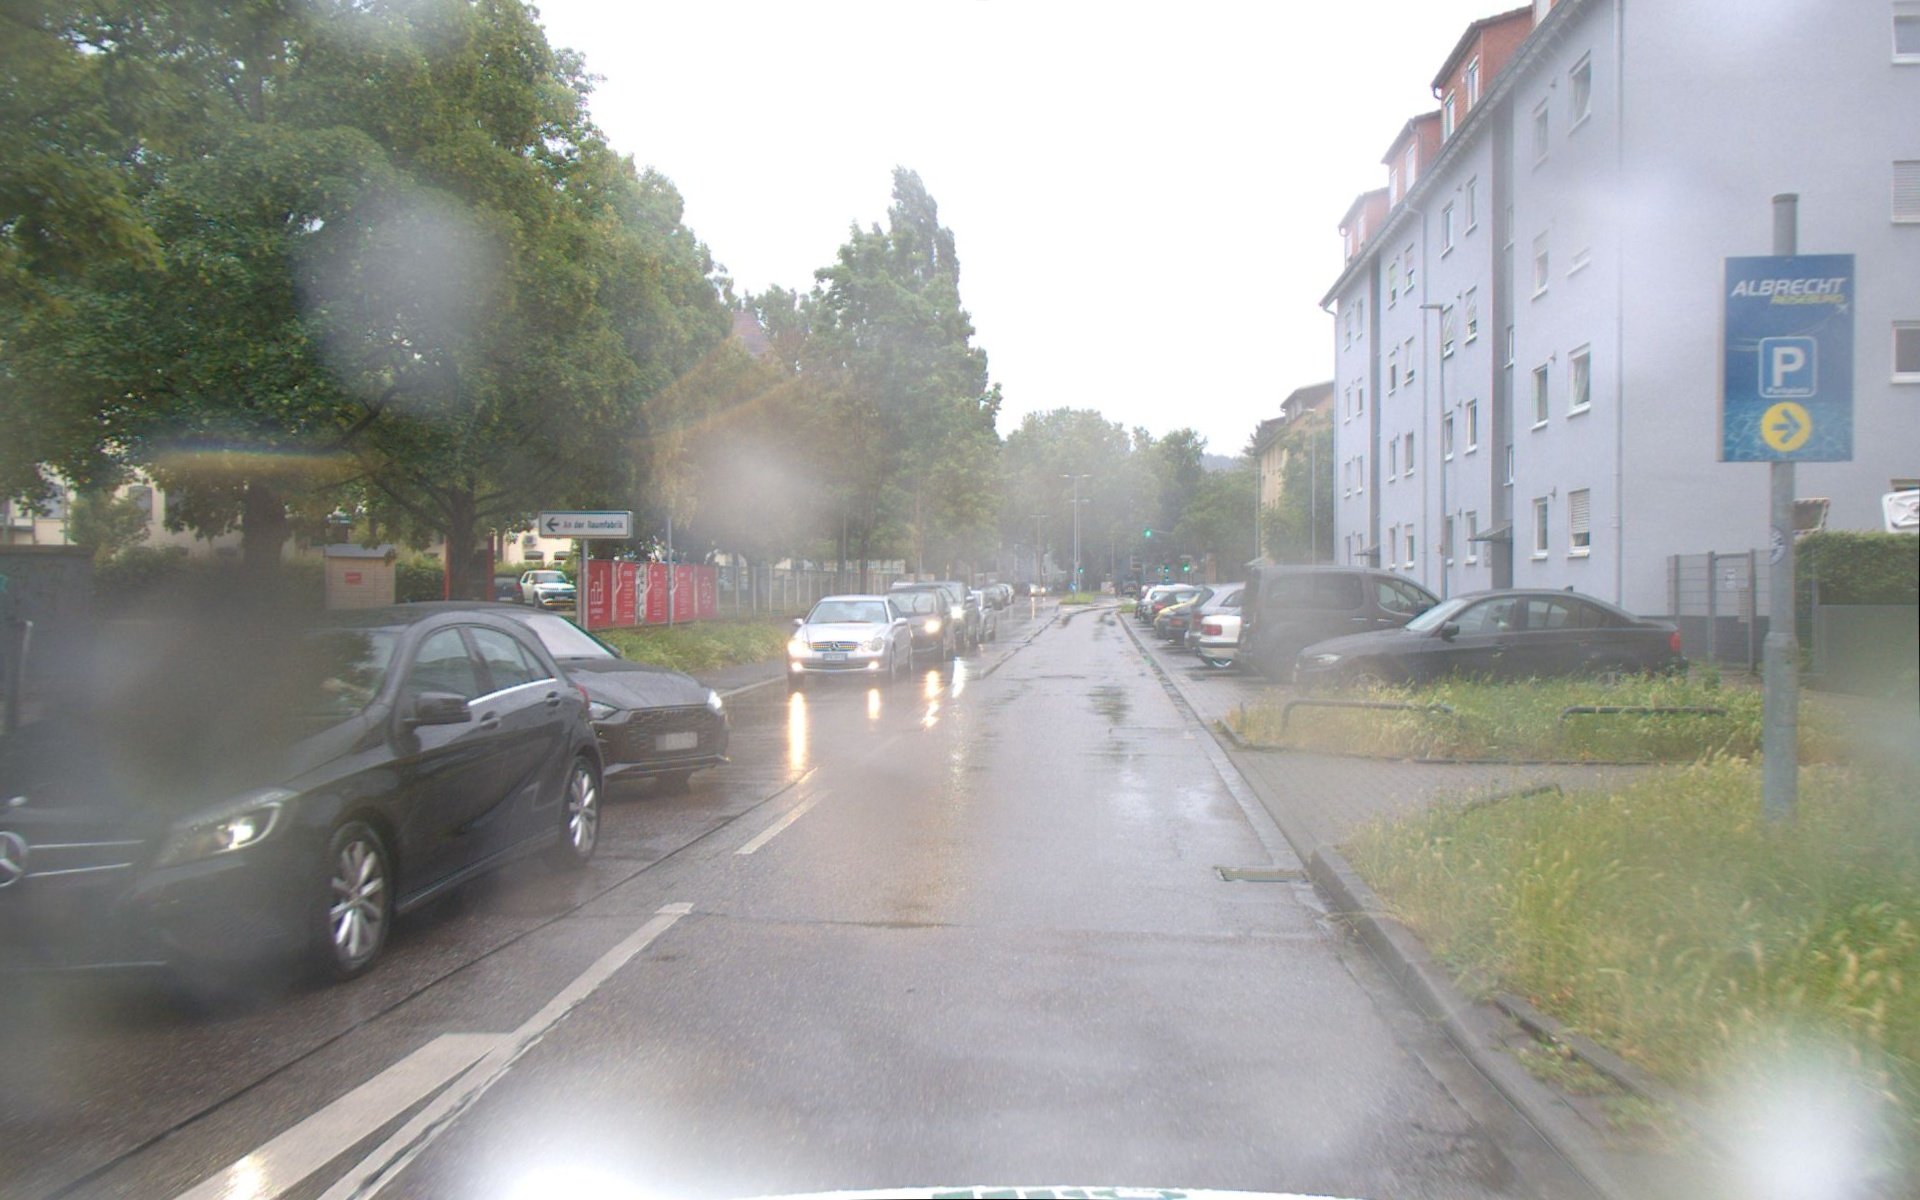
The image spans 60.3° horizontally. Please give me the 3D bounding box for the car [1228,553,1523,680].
[{"bbox_3d":[6.425,0.243,25.946,4.144,1.836,1.945,-1,0,1],"label":"car"}]

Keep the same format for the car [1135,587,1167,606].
[{"bbox_3d":[15.546,-0.294,134.436,1.813,1.551,3.996,0,1,-5],"label":"car"}]

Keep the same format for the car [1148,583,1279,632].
[{"bbox_3d":[7.896,0.214,51.792,3.903,1.467,1.783,1,0,4],"label":"car"}]

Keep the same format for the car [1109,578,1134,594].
[{"bbox_3d":[15.591,-1.383,159.840,1.813,1.551,3.997,0,1,-4],"label":"car"}]

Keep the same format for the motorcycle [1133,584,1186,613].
[{"bbox_3d":[9.244,-0.076,76.827,2.349,1.347,0.919,1,0,0],"label":"motorcycle"}]

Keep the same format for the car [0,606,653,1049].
[{"bbox_3d":[-2.908,0.775,7.719,1.690,1.385,4.341,-1,1,6],"label":"car"}]

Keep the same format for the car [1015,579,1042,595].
[{"bbox_3d":[7.271,-1.392,175.854,1.712,1.718,3.984,0,0,-15],"label":"car"}]

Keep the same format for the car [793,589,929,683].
[{"bbox_3d":[-1.576,0.533,27.854,1.737,1.428,4.832,1,0,3],"label":"car"}]

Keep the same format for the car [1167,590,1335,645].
[{"bbox_3d":[6.773,0.398,38.791,3.772,1.229,1.957,0,1,6],"label":"car"}]

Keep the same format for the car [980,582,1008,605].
[{"bbox_3d":[2.384,-0.471,114.162,1.889,1.510,4.001,-1,1,1],"label":"car"}]

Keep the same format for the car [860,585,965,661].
[{"bbox_3d":[-0.936,0.440,35.018,1.741,1.445,4.268,-1,1,5],"label":"car"}]

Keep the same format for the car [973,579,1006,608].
[{"bbox_3d":[1.767,-0.421,99.353,1.740,1.556,3.999,1,2,-2],"label":"car"}]

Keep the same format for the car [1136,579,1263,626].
[{"bbox_3d":[8.283,0.086,57.526,4.250,1.579,2.041,1,0,4],"label":"car"}]

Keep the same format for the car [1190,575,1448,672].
[{"bbox_3d":[6.110,0.397,28.533,4.102,1.596,1.889,0,0,3],"label":"car"}]

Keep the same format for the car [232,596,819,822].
[{"bbox_3d":[-3.634,0.731,13.408,4.831,1.479,2.078,0,1,37],"label":"car"}]

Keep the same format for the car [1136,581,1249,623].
[{"bbox_3d":[8.803,0.052,62.466,4.178,1.479,1.986,1,1,10],"label":"car"}]

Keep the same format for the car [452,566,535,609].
[{"bbox_3d":[-17.976,-0.447,63.686,1.976,1.585,3.953,0,0,-34],"label":"car"}]

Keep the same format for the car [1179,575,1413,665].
[{"bbox_3d":[6.244,0.364,31.145,4.093,1.599,1.891,1,0,3],"label":"car"}]

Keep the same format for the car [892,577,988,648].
[{"bbox_3d":[-0.434,0.281,41.847,1.873,1.668,4.825,1,0,6],"label":"car"}]

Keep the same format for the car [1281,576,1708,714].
[{"bbox_3d":[6.150,0.502,19.498,4.437,1.496,1.984,-1,0,5],"label":"car"}]

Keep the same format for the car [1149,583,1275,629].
[{"bbox_3d":[8.224,0.182,54.382,4.010,1.483,2.002,0,1,6],"label":"car"}]

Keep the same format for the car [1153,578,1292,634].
[{"bbox_3d":[7.776,0.165,49.181,3.903,1.579,1.854,1,0,3],"label":"car"}]

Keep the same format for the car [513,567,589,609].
[{"bbox_3d":[-16.090,-0.453,64.949,1.826,1.600,3.958,0,-1,-31],"label":"car"}]

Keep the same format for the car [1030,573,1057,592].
[{"bbox_3d":[9.120,-1.923,181.121,1.960,2.049,3.985,0,1,-14],"label":"car"}]

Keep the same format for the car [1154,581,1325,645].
[{"bbox_3d":[6.921,0.303,41.329,4.056,1.512,2.014,1,0,4],"label":"car"}]
